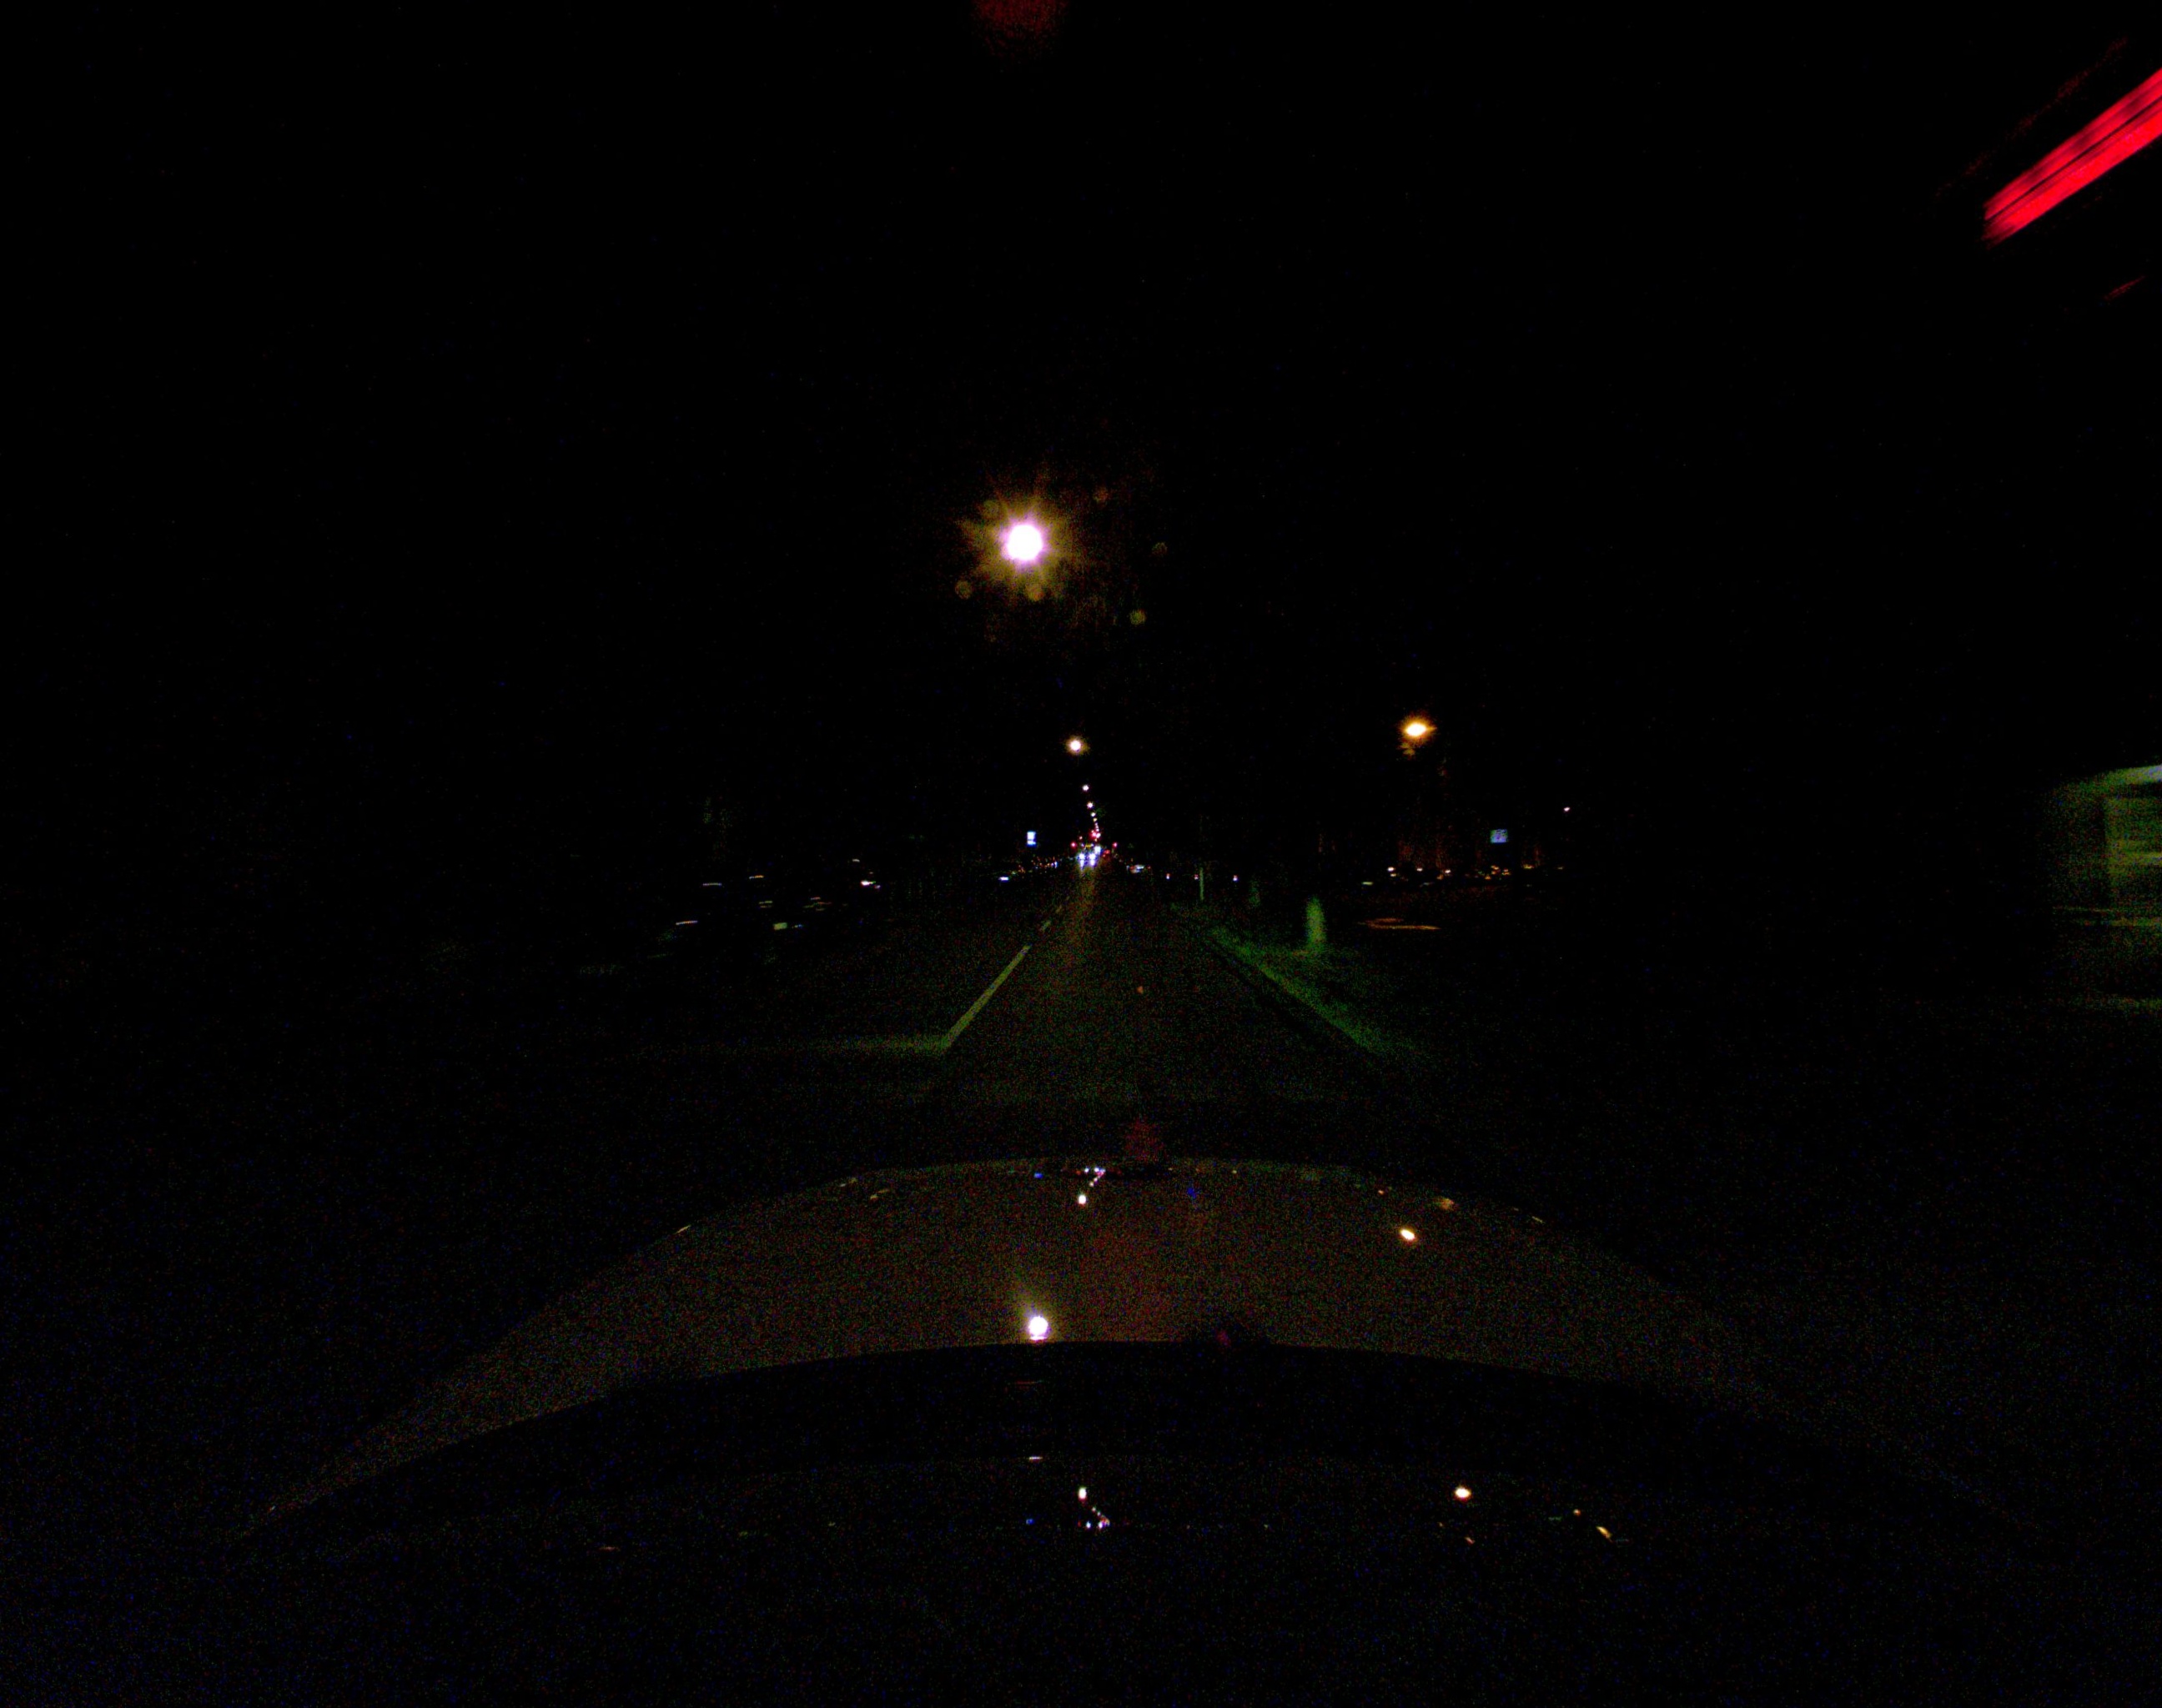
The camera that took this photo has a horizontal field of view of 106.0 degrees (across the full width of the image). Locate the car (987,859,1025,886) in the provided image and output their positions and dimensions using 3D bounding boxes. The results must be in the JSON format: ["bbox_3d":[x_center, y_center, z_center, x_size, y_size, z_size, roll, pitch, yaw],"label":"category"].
[{"bbox_3d":[-4.360,1.042,48.029,1.808,1.484,4.347,0,0,0],"label":"car"}]

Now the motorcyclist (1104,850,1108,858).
[{"bbox_3d":[5.384,0.003,174.321,0.845,1.752,0.806,0,-1,1],"label":"motorcyclist"}]

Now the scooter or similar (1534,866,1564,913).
[{"bbox_3d":[11.924,0.881,20.788,0.494,1.146,1.676,-3,-2,26],"label":"scooter or similar"}]

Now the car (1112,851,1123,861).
[{"bbox_3d":[6.644,0.368,148.751,1.805,1.594,4.275,-2,1,2],"label":"car"}]

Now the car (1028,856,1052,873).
[{"bbox_3d":[-3.649,0.937,72.374,1.857,1.491,4.280,0,-1,1],"label":"car"}]

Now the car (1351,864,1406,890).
[{"bbox_3d":[16.859,1.275,46.052,1.779,1.417,3.861,0,-1,39],"label":"car"}]

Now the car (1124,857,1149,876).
[{"bbox_3d":[4.524,0.994,66.812,1.765,1.448,4.020,-1,0,1],"label":"car"}]

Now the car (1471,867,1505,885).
[{"bbox_3d":[34.227,1.819,68.393,1.752,1.501,3.944,0,-1,39],"label":"car"}]

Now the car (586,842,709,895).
[{"bbox_3d":[-14.286,0.462,27.134,1.750,1.538,4.187,3,-1,1],"label":"car"}]

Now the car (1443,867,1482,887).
[{"bbox_3d":[28.371,1.712,60.474,1.752,1.417,3.944,0,-1,39],"label":"car"}]

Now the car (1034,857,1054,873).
[{"bbox_3d":[-3.474,1.028,76.962,1.616,1.491,3.781,0,-1,1],"label":"car"}]

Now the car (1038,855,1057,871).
[{"bbox_3d":[-3.425,0.946,84.629,1.698,1.491,4.228,-2,0,1],"label":"car"}]

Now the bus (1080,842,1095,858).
[{"bbox_3d":[1.311,-0.841,162.742,2.827,3.177,10.502,0,0,2],"label":"bus"}]

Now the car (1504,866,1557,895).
[{"bbox_3d":[23.370,1.357,42.260,1.779,1.417,3.861,0,-1,39],"label":"car"}]

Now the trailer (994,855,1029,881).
[{"bbox_3d":[-4.482,0.905,52.701,1.629,1.640,3.445,0,-1,6],"label":"trailer"}]

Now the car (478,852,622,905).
[{"bbox_3d":[-14.234,0.623,22.084,1.551,1.317,3.561,0,-1,0],"label":"car"}]

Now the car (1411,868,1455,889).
[{"bbox_3d":[23.784,1.635,55.025,1.752,1.341,3.944,0,-1,39],"label":"car"}]

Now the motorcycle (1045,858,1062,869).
[{"bbox_3d":[-3.011,1.069,88.941,0.719,1.147,2.183,-1,1,-41],"label":"motorcycle"}]

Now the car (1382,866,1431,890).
[{"bbox_3d":[20.345,1.441,50.765,1.779,1.417,3.861,0,-1,39],"label":"car"}]

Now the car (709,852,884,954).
[{"bbox_3d":[-5.205,0.799,15.653,1.843,1.650,4.668,1,0,-2],"label":"car"}]

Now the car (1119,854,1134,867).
[{"bbox_3d":[5.578,0.810,99.814,1.756,1.476,4.082,-2,1,2],"label":"car"}]

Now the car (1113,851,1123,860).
[{"bbox_3d":[7.320,0.309,161.989,1.862,1.526,4.151,-2,1,1],"label":"car"}]

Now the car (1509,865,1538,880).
[{"bbox_3d":[44.756,1.828,82.363,1.752,1.441,3.943,0,-1,42],"label":"car"}]

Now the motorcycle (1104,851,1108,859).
[{"bbox_3d":[5.385,0.241,174.316,0.927,1.752,2.626,0,-1,2],"label":"motorcycle"}]

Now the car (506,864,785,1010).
[{"bbox_3d":[-5.234,0.898,10.392,1.643,1.514,3.699,0,-1,-2],"label":"car"}]

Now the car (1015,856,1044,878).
[{"bbox_3d":[-4.008,0.959,63.825,1.828,1.619,4.546,0,0,2],"label":"car"}]

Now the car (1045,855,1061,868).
[{"bbox_3d":[-3.319,0.871,96.607,1.632,1.498,2.767,0,-1,3],"label":"car"}]

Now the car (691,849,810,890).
[{"bbox_3d":[-13.050,0.595,32.278,3.962,1.425,1.767,2,0,11],"label":"car"}]

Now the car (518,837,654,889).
[{"bbox_3d":[-17.072,0.328,28.364,1.745,1.606,3.991,2,-1,11],"label":"car"}]

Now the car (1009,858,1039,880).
[{"bbox_3d":[-4.066,1.062,58.654,1.829,1.446,4.544,-1,0,0],"label":"car"}]

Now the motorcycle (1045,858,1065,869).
[{"bbox_3d":[-2.902,1.055,90.958,2.180,1.131,0.720,-1,0,34],"label":"motorcycle"}]

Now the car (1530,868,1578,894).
[{"bbox_3d":[26.956,1.512,46.362,1.779,1.417,3.861,0,-1,39],"label":"car"}]

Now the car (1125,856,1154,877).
[{"bbox_3d":[4.339,0.928,61.354,1.839,1.417,4.646,-3,-1,1],"label":"car"}]
